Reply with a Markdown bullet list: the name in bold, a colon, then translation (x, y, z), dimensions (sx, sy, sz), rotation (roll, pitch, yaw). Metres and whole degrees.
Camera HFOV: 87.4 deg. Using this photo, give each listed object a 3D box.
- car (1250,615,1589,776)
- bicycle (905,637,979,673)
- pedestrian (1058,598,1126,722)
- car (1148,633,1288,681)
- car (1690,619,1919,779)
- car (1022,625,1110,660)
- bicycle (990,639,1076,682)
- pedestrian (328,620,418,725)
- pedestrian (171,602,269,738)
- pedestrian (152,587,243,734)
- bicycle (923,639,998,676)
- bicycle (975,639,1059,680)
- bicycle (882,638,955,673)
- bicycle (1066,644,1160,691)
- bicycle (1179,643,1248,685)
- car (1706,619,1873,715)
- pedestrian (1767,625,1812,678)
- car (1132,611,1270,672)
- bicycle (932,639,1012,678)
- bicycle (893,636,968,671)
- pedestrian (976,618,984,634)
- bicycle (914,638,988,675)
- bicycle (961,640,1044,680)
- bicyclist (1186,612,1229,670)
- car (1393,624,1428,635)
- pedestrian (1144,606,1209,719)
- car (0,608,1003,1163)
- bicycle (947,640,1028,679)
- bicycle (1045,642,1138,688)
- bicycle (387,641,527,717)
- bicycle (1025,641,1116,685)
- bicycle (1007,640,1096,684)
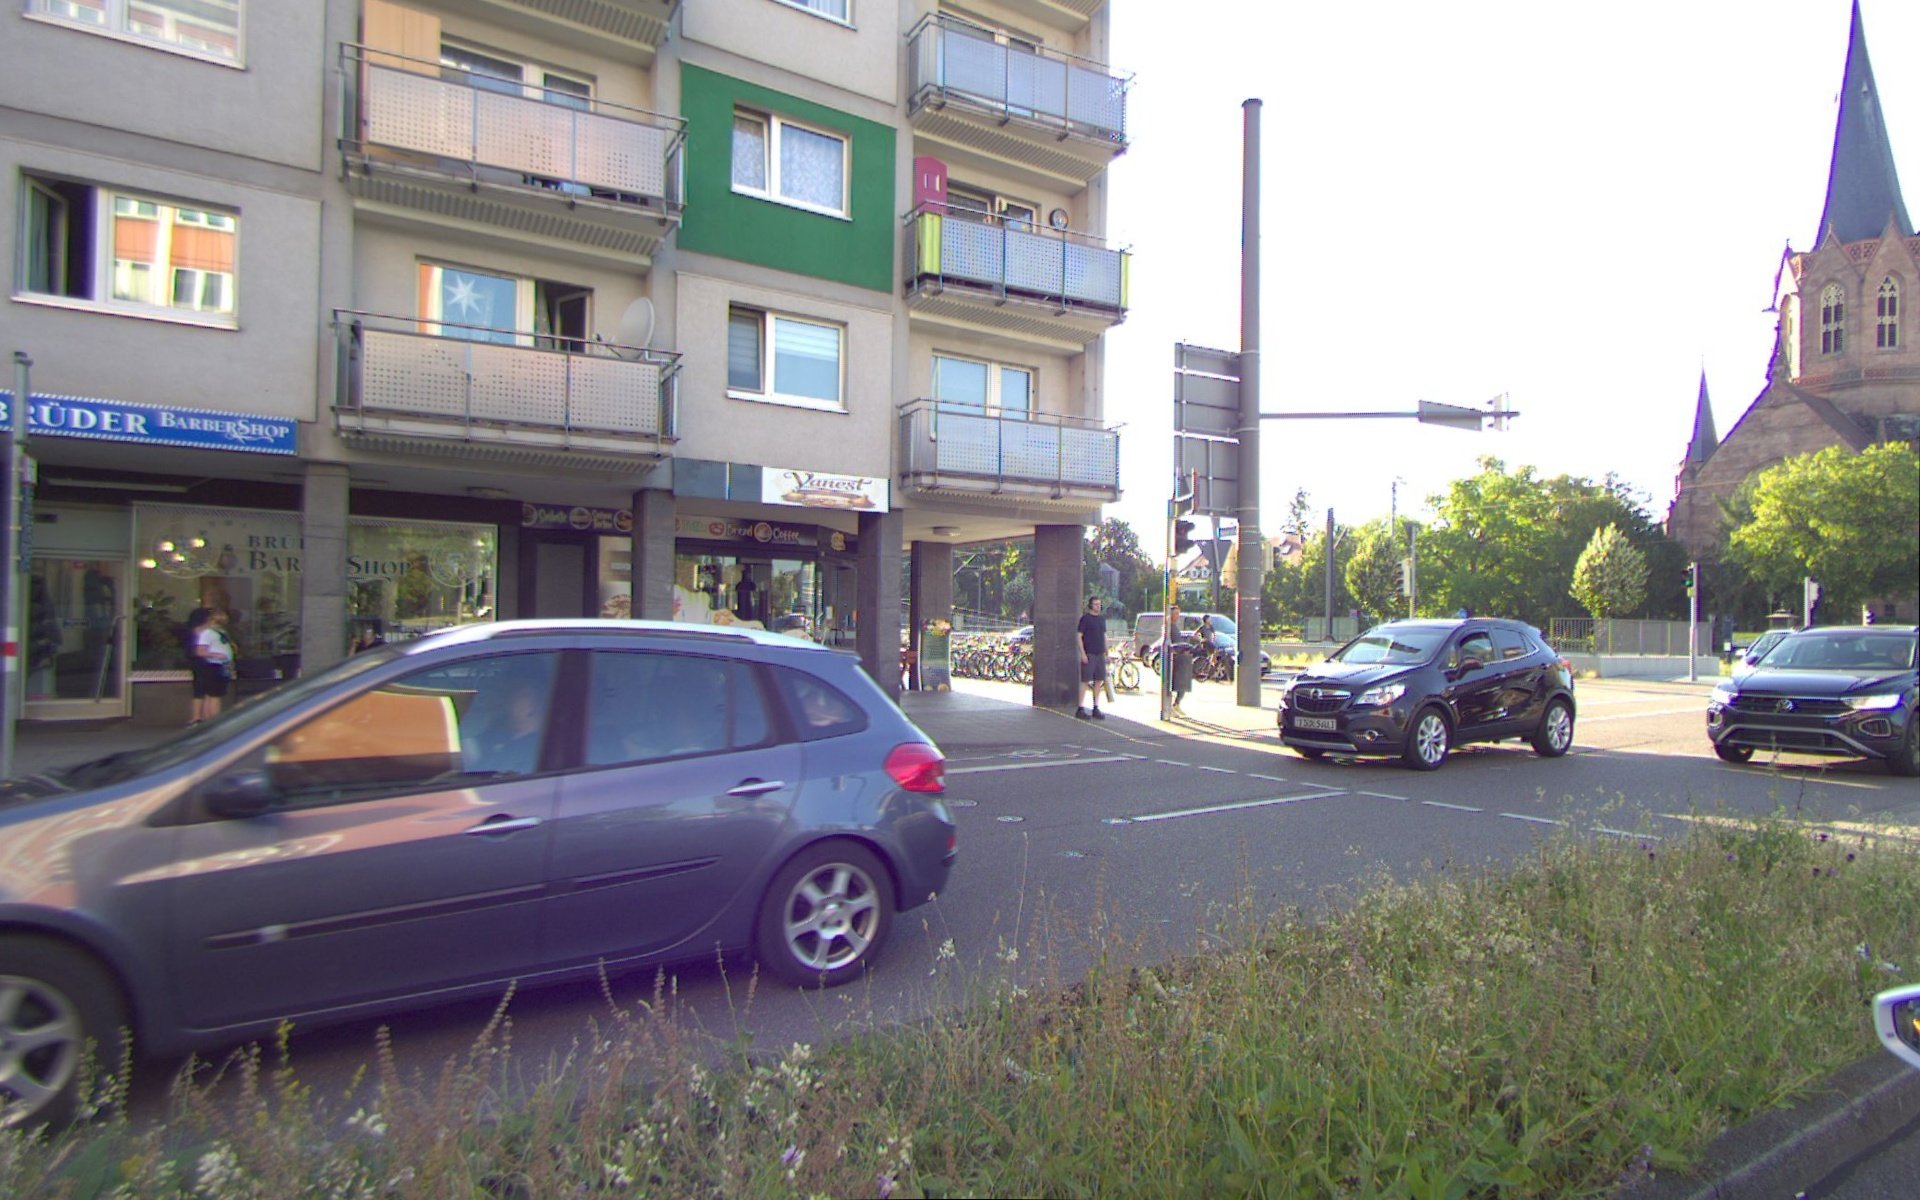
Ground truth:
- **car**: translation (5.568, 1.040, 12.080), dimensions (4.055, 1.650, 1.711), rotation (1, -2, -31)
- **bicycle**: translation (-0.538, 1.699, 30.999), dimensions (2.273, 1.065, 0.642), rotation (2, -2, -31)
- **pedestrian**: translation (2.095, 0.930, 15.976), dimensions (0.802, 1.900, 0.605), rotation (1, 2, -30)
- **car**: translation (7.916, 1.717, 31.152), dimensions (1.781, 1.330, 4.165), rotation (2, -2, -32)
- **car**: translation (10.368, 1.030, 11.587), dimensions (4.055, 1.565, 1.667), rotation (1, -2, -31)
- **car**: translation (4.553, 1.818, 43.666), dimensions (1.781, 1.392, 3.880), rotation (2, -2, -32)
- **bicycle**: translation (1.949, 1.597, 26.656), dimensions (2.273, 1.065, 0.731), rotation (2, -2, -31)
- **pedestrian**: translation (-7.756, 0.932, 13.297), dimensions (0.613, 1.331, 0.811), rotation (0, -1, 16)
- **pedestrian**: translation (-8.434, 0.779, 11.460), dimensions (0.613, 1.486, 0.658), rotation (0, -1, 24)
- **pedestrian**: translation (-9.117, 0.704, 12.022), dimensions (0.614, 1.694, 0.657), rotation (0, -1, 30)
- **bicycle**: translation (0.034, 1.722, 29.981), dimensions (2.273, 1.065, 0.558), rotation (2, -2, -31)
- **bicycle**: translation (1.563, 1.607, 27.346), dimensions (2.273, 1.065, 0.731), rotation (2, -2, -31)
- **bicycle**: translation (-1.328, 1.778, 32.373), dimensions (2.273, 1.065, 0.731), rotation (2, -2, -31)
- **bicycle**: translation (3.647, 1.579, 23.813), dimensions (2.273, 1.065, 0.731), rotation (2, -1, -31)
- **bicycle**: translation (7.192, 1.792, 28.522), dimensions (0.940, 1.112, 1.769), rotation (1, -2, -30)
- **car**: translation (15.007, 1.169, 18.157), dimensions (2.777, 1.614, 1.527), rotation (1, -2, -32)
- **pedestrian**: translation (28.160, 1.731, 34.104), dimensions (0.803, 1.762, 0.960), rotation (2, -1, -32)
- **car**: translation (8.590, 1.443, 36.250), dimensions (1.978, 2.040, 4.896), rotation (2, -2, -32)
- **bicycle**: translation (0.360, 1.706, 29.396), dimensions (2.273, 1.065, 0.731), rotation (2, -2, -31)
- **bicycle**: translation (-0.922, 1.697, 31.685), dimensions (2.273, 1.065, 0.731), rotation (2, -2, -31)
- **pedestrian**: translation (2.352, 3.061, 118.686), dimensions (0.677, 1.847, 0.531), rotation (2, -1, -27)
- **bicycle**: translation (-0.260, 1.713, 30.490), dimensions (2.273, 1.065, 0.558), rotation (2, -2, -31)
- **bicycle**: translation (1.199, 1.665, 28.024), dimensions (2.273, 1.065, 0.731), rotation (2, -2, -31)
- **bicyclist**: translation (7.078, 1.176, 28.729), dimensions (0.952, 1.619, 0.732), rotation (1, -2, -30)
- **car**: translation (67.790, 4.405, 151.113), dimensions (1.985, 1.592, 4.411), rotation (2, -2, -41)
- **pedestrian**: translation (3.599, 1.030, 16.718), dimensions (0.802, 1.811, 0.606), rotation (1, 2, -27)
- **car**: translation (-1.888, 0.810, 4.074), dimensions (3.940, 1.490, 1.584), rotation (1, -2, -32)
- **bicycle**: translation (0.798, 1.691, 28.716), dimensions (2.273, 1.065, 0.731), rotation (2, -2, -31)
- **bicycle**: translation (3.223, 1.585, 24.496), dimensions (2.273, 1.065, 0.731), rotation (2, -2, -31)
- **bicycle**: translation (-7.163, 1.110, 14.350), dimensions (1.684, 1.012, 0.619), rotation (2, -2, -40)
- **bicycle**: translation (2.787, 1.571, 25.179), dimensions (2.273, 1.065, 0.731), rotation (2, -2, -31)
- **bicycle**: translation (2.363, 1.588, 25.845), dimensions (2.273, 1.065, 0.731), rotation (2, -2, -31)
